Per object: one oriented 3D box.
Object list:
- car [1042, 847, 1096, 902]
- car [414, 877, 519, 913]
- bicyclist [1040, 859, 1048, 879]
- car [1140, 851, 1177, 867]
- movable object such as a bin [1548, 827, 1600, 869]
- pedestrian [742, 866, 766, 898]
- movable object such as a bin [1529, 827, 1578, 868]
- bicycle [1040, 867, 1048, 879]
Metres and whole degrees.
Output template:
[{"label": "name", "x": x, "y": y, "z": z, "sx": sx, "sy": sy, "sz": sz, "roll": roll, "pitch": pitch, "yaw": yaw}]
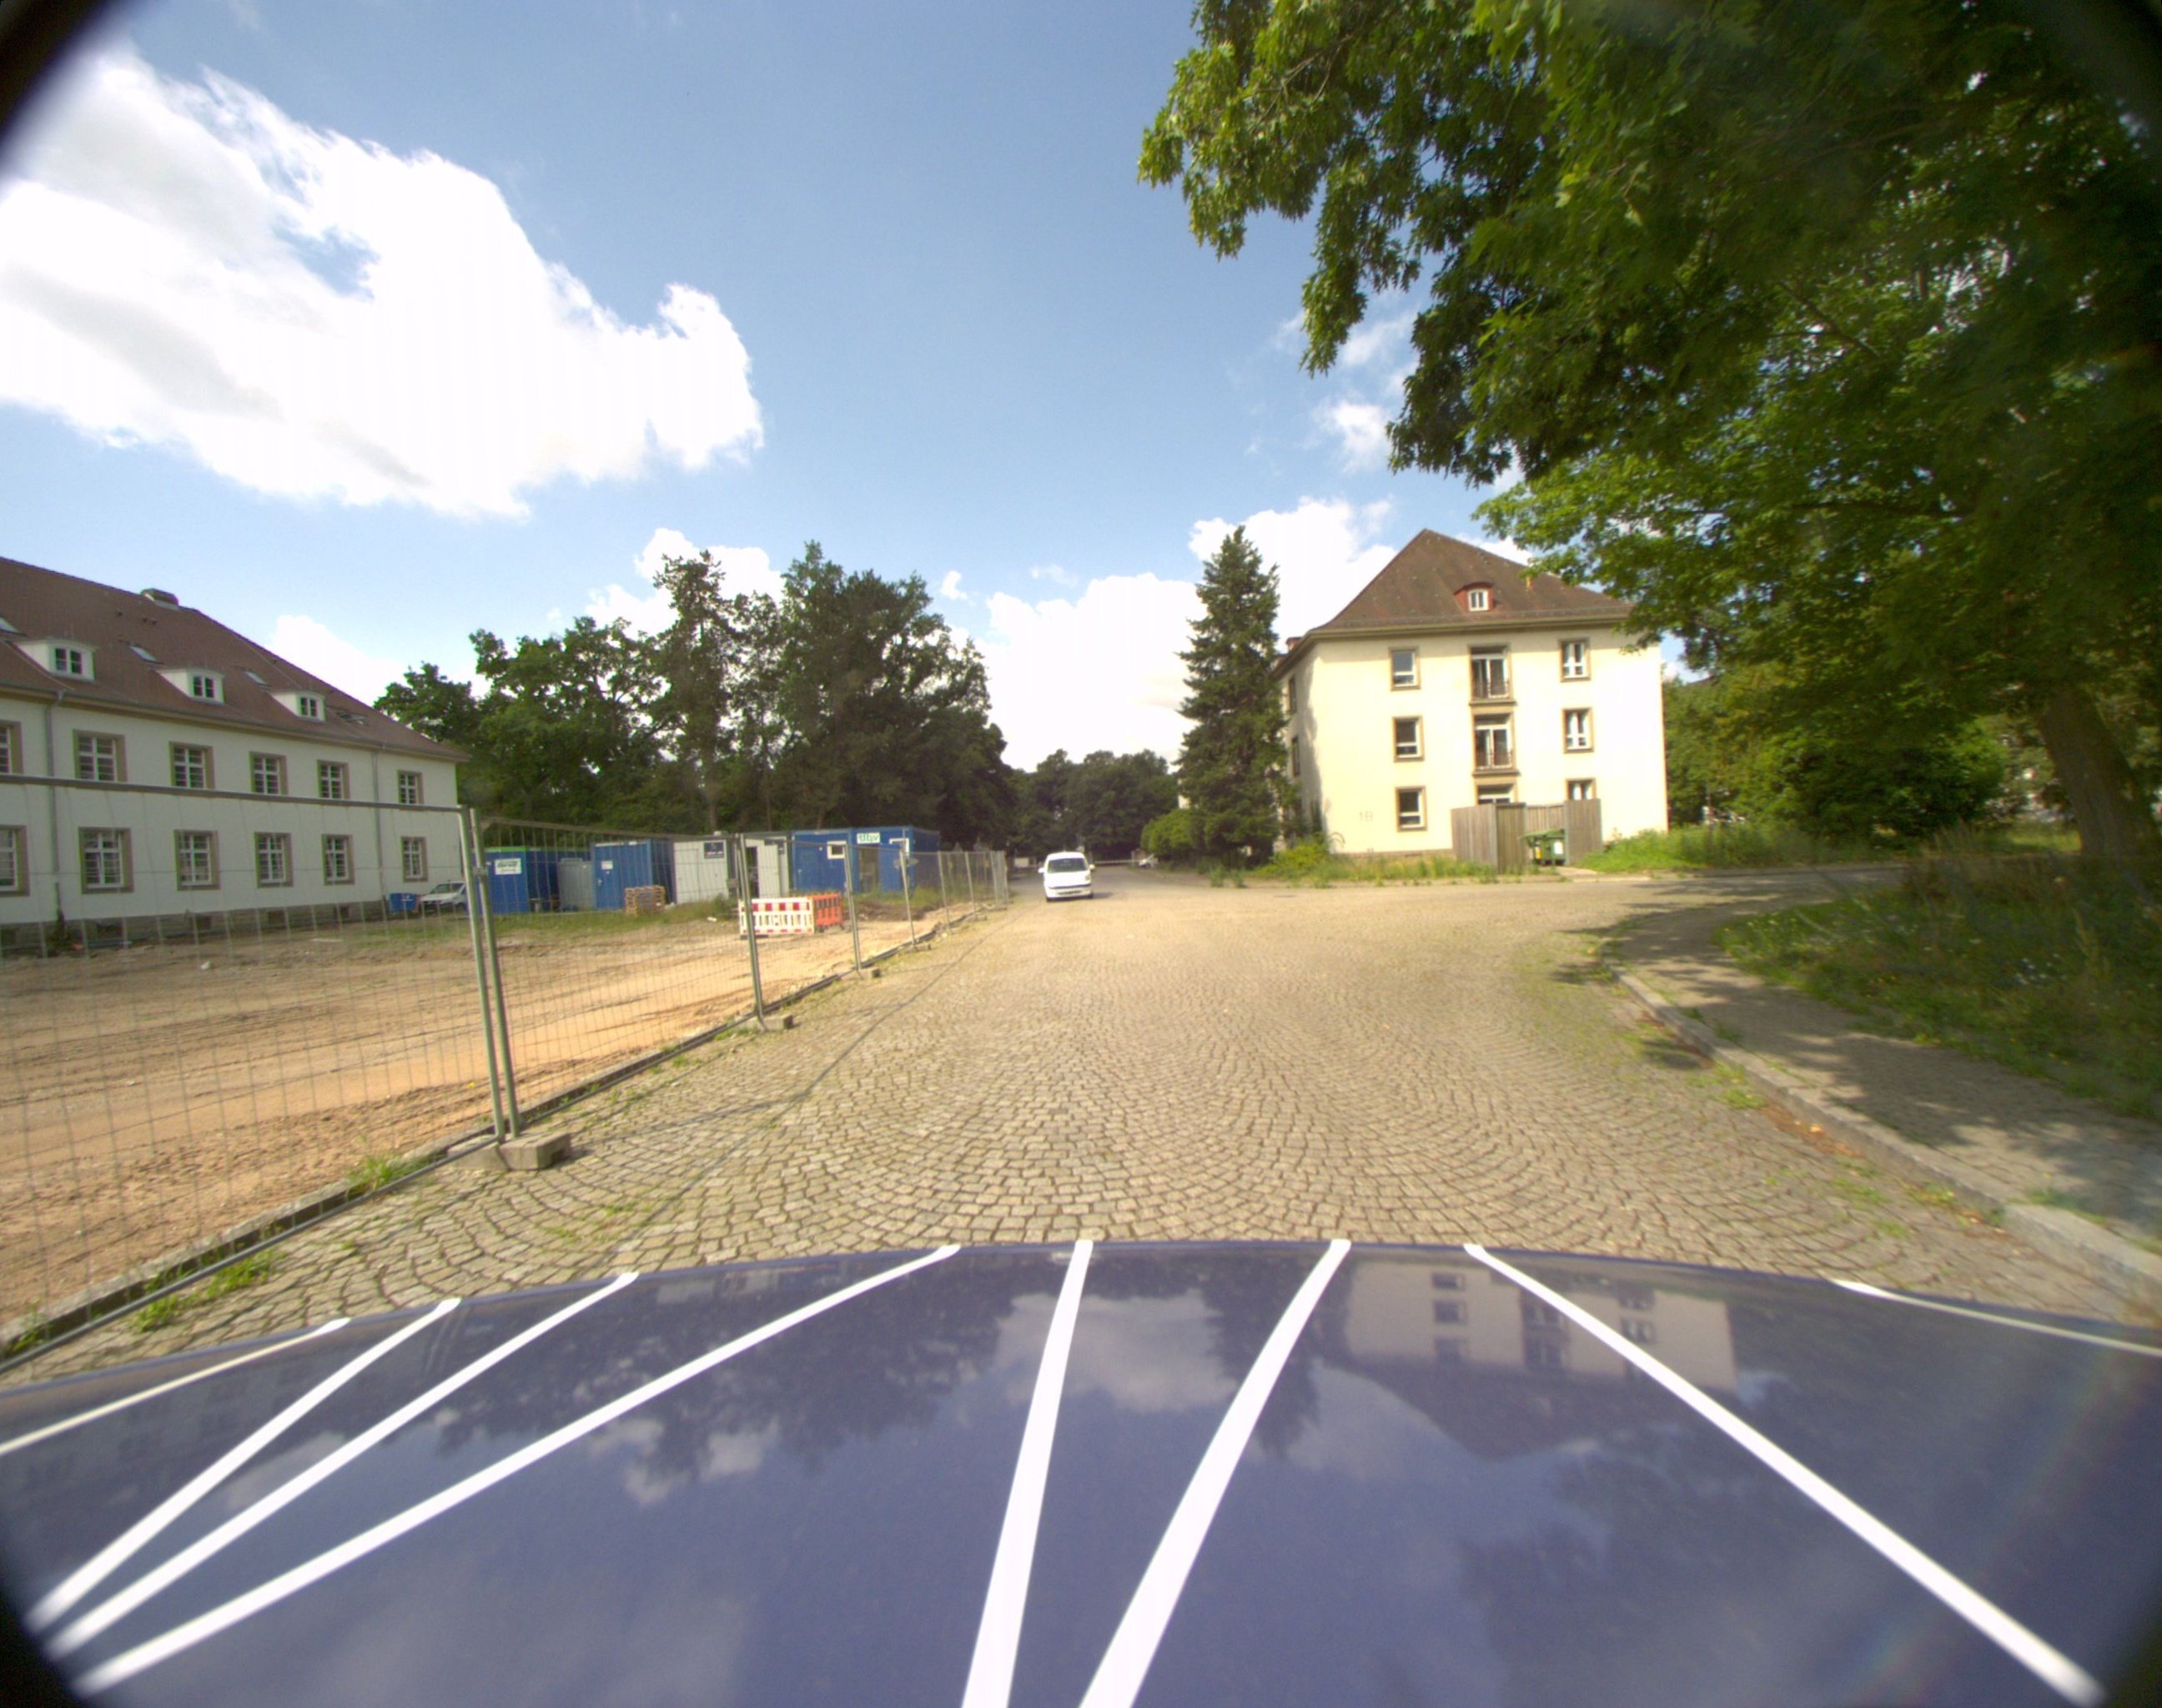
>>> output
[{"label": "car", "x": -0.491, "y": 0.780, "z": 29.695, "sx": 1.839, "sy": 1.857, "sz": 4.830, "roll": -3, "pitch": -1, "yaw": -1}, {"label": "car", "x": -34.564, "y": 2.258, "z": 42.941, "sx": 1.884, "sy": 1.718, "sz": 4.708, "roll": -2, "pitch": 0, "yaw": 2}, {"label": "bicyclist", "x": -3.404, "y": 1.394, "z": 70.201, "sx": 0.634, "sy": 1.760, "sz": 0.571, "roll": -3, "pitch": 1, "yaw": -1}, {"label": "car", "x": 9.146, "y": 0.592, "z": 90.044, "sx": 4.083, "sy": 1.634, "sz": 1.767, "roll": -2, "pitch": 1, "yaw": 1}, {"label": "movable object such as a bin", "x": 18.801, "y": -0.238, "z": 28.998, "sx": 1.172, "sy": 1.522, "sz": 1.153, "roll": -2, "pitch": 1, "yaw": -2}, {"label": "pedestrian", "x": -13.462, "y": 1.142, "z": 31.303, "sx": 0.602, "sy": 1.235, "sz": 0.683, "roll": -3, "pitch": 0, "yaw": 0}, {"label": "movable object such as a bin", "x": 18.766, "y": -0.259, "z": 30.200, "sx": 1.172, "sy": 1.522, "sz": 1.153, "roll": -2, "pitch": 1, "yaw": -2}, {"label": "bicycle", "x": -3.383, "y": 1.767, "z": 70.199, "sx": 0.634, "sy": 0.990, "sz": 1.557, "roll": -3, "pitch": 0, "yaw": -1}]
